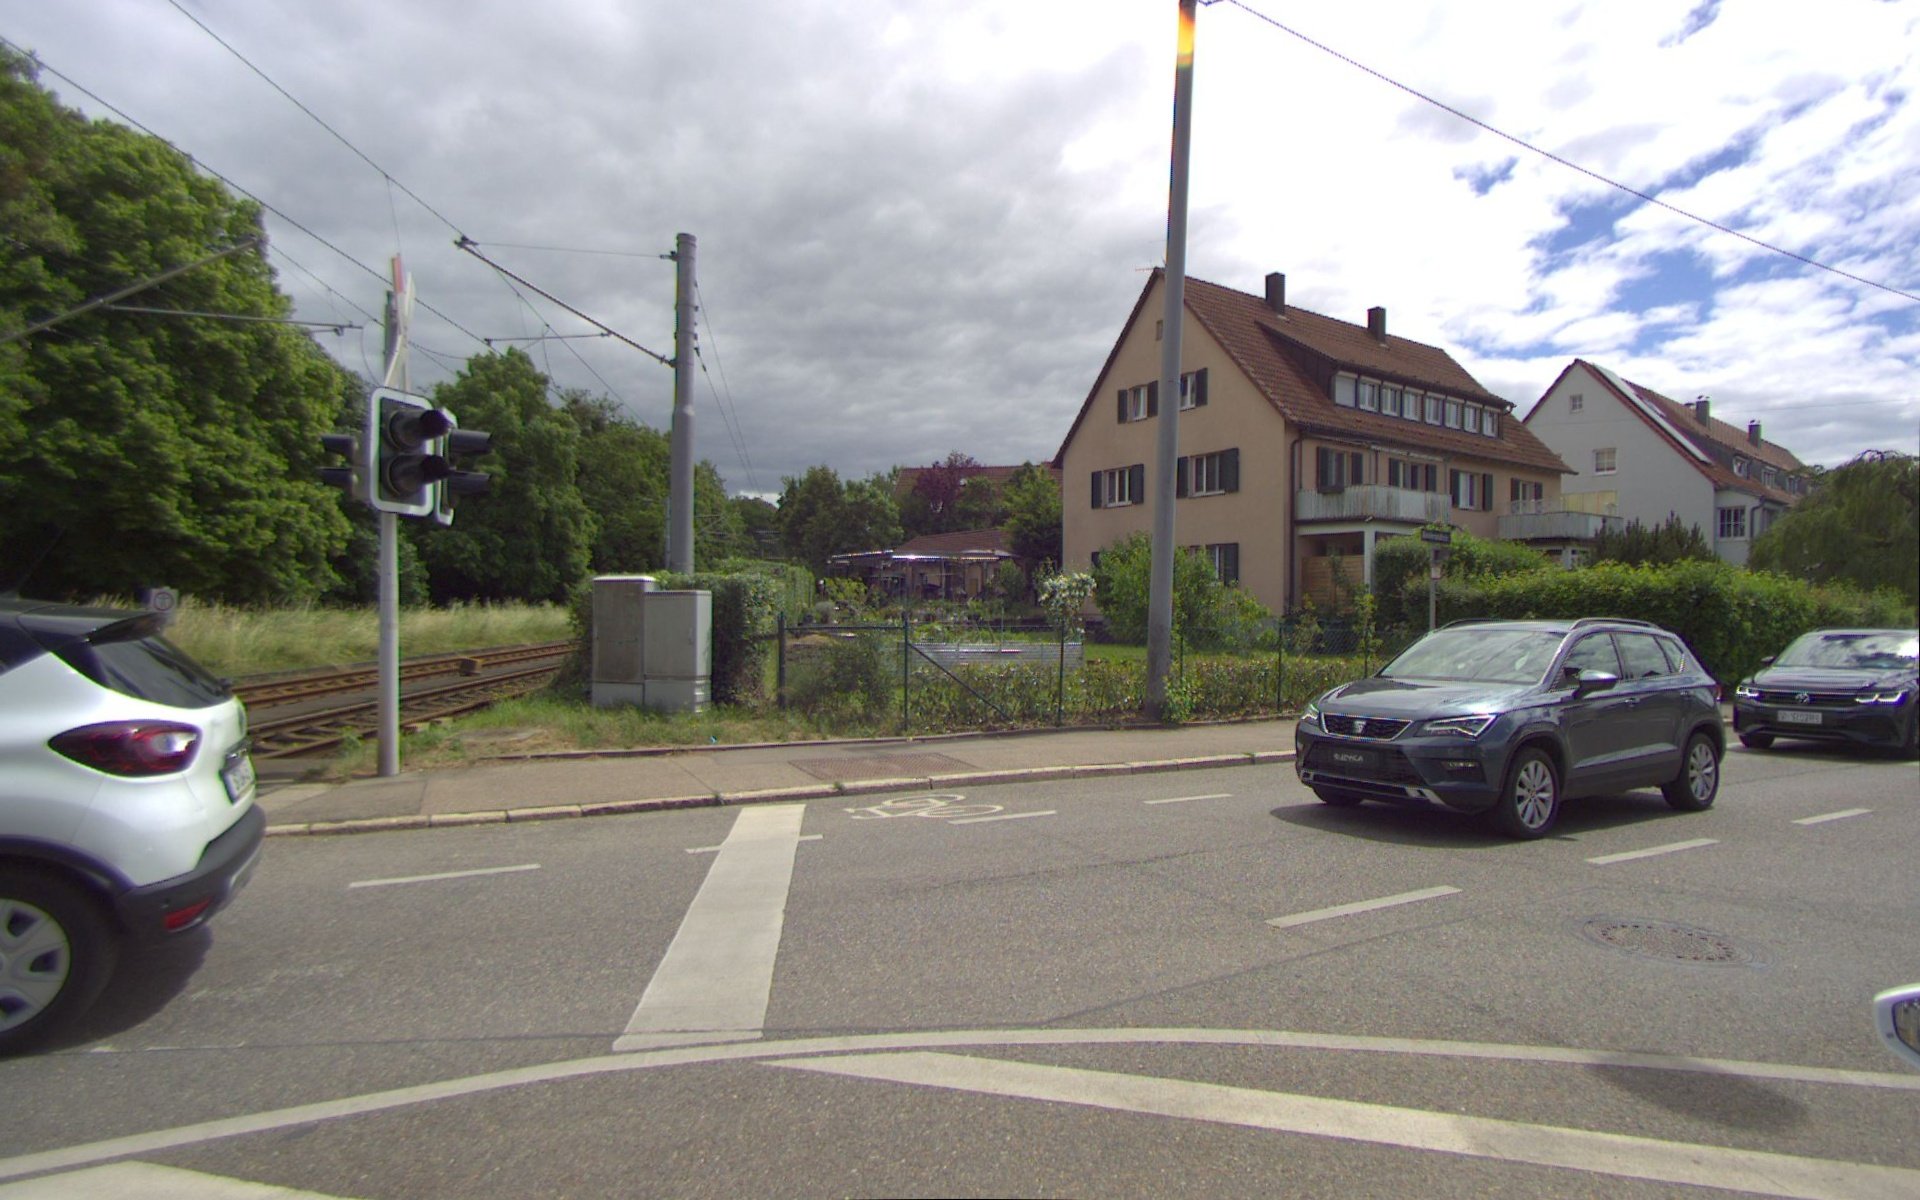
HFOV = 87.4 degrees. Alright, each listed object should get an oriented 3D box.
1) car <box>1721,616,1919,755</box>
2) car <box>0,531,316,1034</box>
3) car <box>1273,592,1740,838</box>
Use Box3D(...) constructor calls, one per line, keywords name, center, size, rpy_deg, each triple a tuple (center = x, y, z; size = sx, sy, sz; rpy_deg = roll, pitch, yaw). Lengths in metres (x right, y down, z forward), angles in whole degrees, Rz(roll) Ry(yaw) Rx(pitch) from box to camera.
Box3D(name="car", center=(12.277, 1.074, 13.643), size=(4.123, 1.624, 1.765), rpy_deg=(1, -2, -32))
Box3D(name="car", center=(-4.651, 0.579, 3.403), size=(3.989, 1.624, 1.768), rpy_deg=(1, -2, -29))
Box3D(name="car", center=(4.693, 0.837, 8.485), size=(3.994, 1.624, 1.765), rpy_deg=(2, -2, -32))
